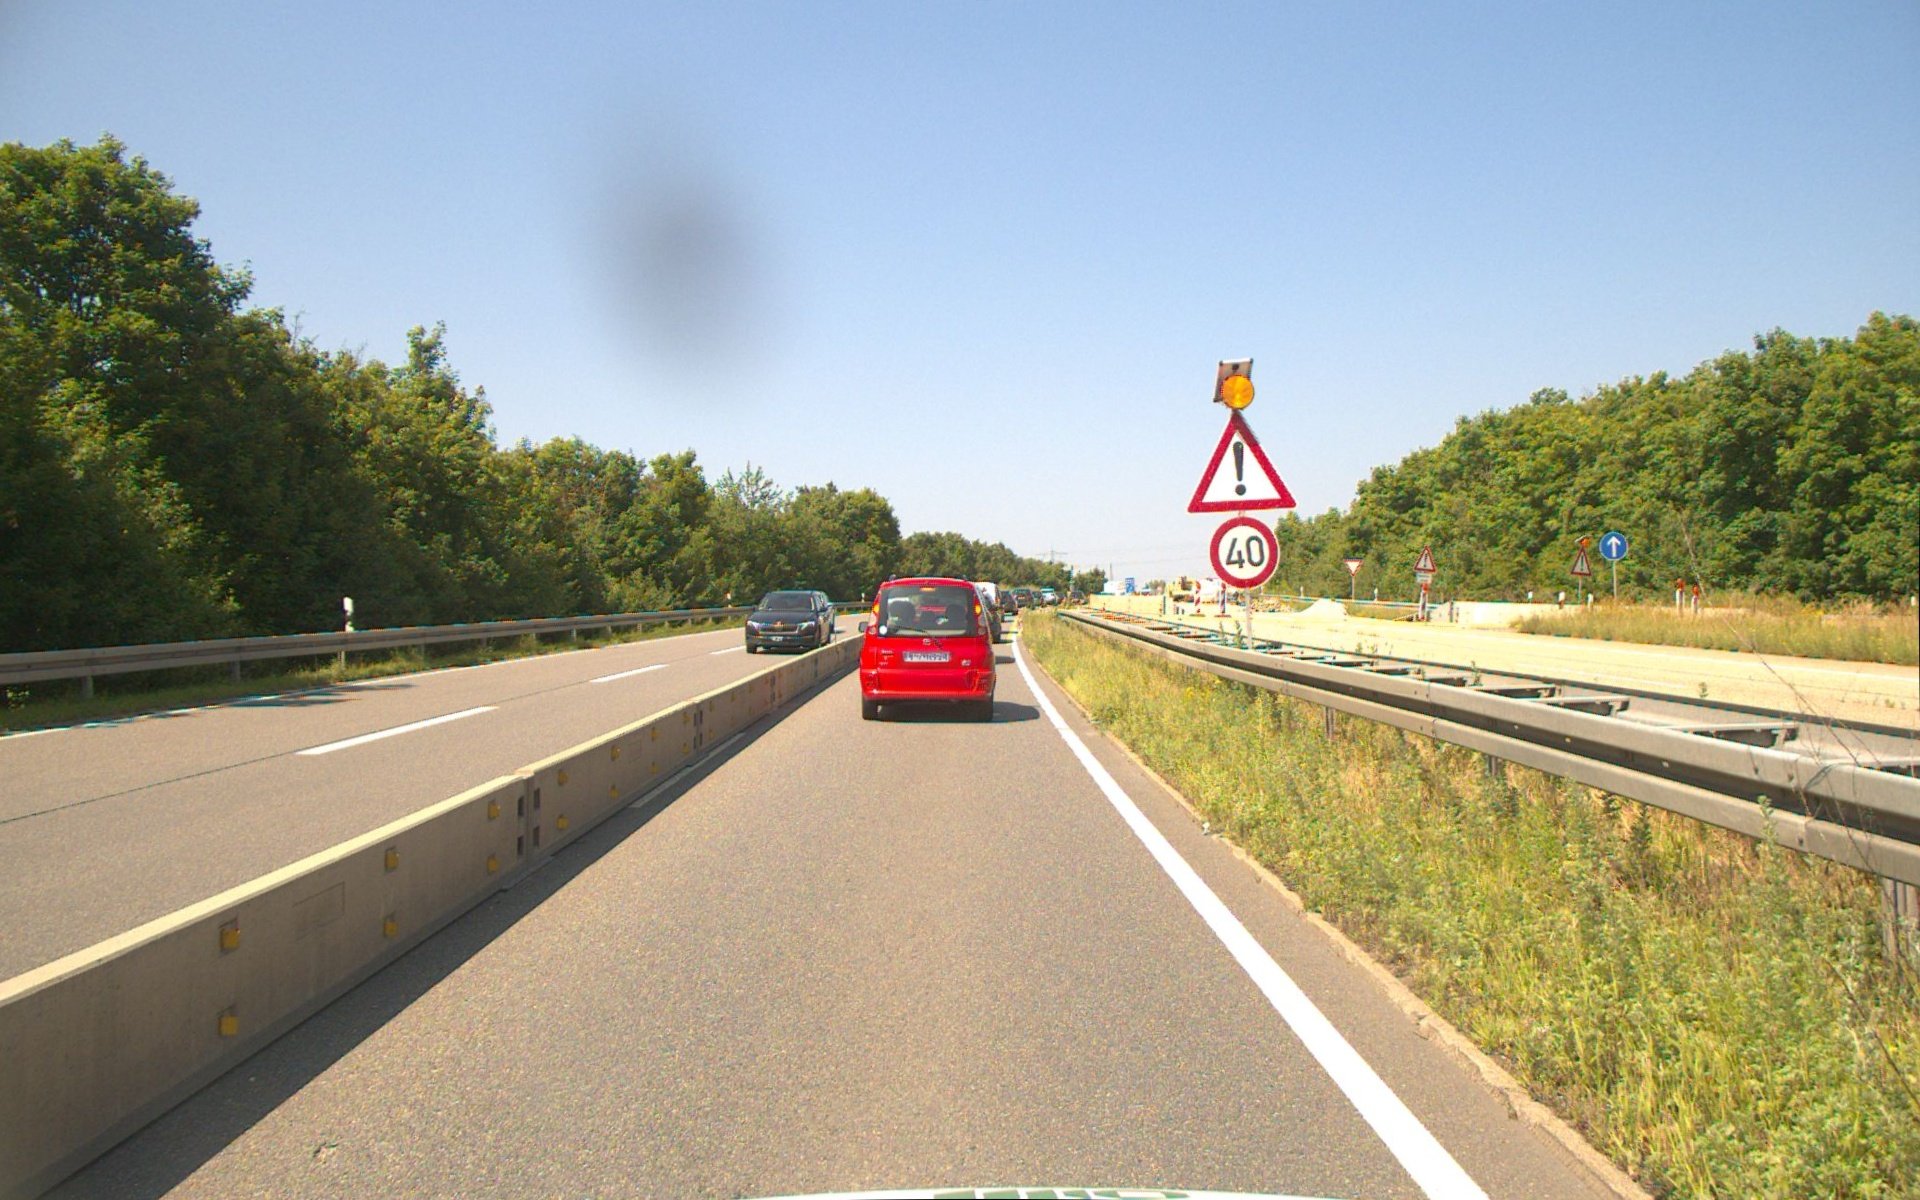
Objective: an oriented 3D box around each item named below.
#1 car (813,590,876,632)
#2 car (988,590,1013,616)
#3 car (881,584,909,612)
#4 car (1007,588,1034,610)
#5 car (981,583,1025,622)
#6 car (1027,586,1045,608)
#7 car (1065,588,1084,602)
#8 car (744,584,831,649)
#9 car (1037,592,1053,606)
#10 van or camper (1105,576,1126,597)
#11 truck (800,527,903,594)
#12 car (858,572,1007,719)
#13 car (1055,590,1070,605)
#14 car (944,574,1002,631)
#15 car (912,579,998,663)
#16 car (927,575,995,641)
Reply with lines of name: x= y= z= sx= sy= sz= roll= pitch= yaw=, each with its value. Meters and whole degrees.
car: x=-4.112 y=0.377 z=59.562 sx=1.909 sy=1.446 sz=4.353 roll=-1 pitch=0 yaw=0
car: x=2.389 y=0.154 z=97.841 sx=1.471 sy=1.476 sz=3.325 roll=0 pitch=0 yaw=1
car: x=-4.321 y=-0.120 z=109.637 sx=1.720 sy=1.795 sz=4.283 roll=-1 pitch=0 yaw=-1
car: x=4.490 y=-0.078 z=122.567 sx=1.952 sy=1.612 sz=4.001 roll=0 pitch=0 yaw=3
car: x=2.006 y=0.125 z=77.938 sx=1.952 sy=1.780 sz=4.000 roll=0 pitch=0 yaw=0
car: x=6.357 y=-0.257 z=138.298 sx=1.471 sy=1.767 sz=3.170 roll=0 pitch=0 yaw=1
car: x=13.418 y=-0.580 z=193.925 sx=1.952 sy=1.579 sz=4.000 roll=0 pitch=0 yaw=1
car: x=-4.219 y=0.373 z=40.973 sx=1.785 sy=1.508 sz=4.255 roll=0 pitch=0 yaw=-1
car: x=7.935 y=-0.109 z=154.184 sx=1.391 sy=1.321 sz=2.880 roll=0 pitch=0 yaw=3
van or camper: x=20.981 y=-1.839 z=223.272 sx=2.281 sy=2.754 sz=4.592 roll=-1 pitch=0 yaw=-1
truck: x=-9.366 y=-3.391 z=143.310 sx=8.440 sy=5.469 sz=3.390 roll=-1 pitch=0 yaw=2
car: x=-0.332 y=0.522 z=21.129 sx=1.716 sy=1.702 sz=3.999 roll=0 pitch=0 yaw=-1
car: x=10.524 y=-0.291 z=170.252 sx=1.470 sy=1.476 sz=3.171 roll=0 pitch=0 yaw=3
car: x=0.446 y=0.088 z=61.047 sx=1.953 sy=2.039 sz=3.999 roll=1 pitch=0 yaw=-2
car: x=-0.058 y=0.427 z=36.463 sx=1.792 sy=1.752 sz=4.001 roll=0 pitch=0 yaw=1
car: x=0.069 y=0.244 z=49.533 sx=1.952 sy=1.870 sz=4.000 roll=0 pitch=0 yaw=1
